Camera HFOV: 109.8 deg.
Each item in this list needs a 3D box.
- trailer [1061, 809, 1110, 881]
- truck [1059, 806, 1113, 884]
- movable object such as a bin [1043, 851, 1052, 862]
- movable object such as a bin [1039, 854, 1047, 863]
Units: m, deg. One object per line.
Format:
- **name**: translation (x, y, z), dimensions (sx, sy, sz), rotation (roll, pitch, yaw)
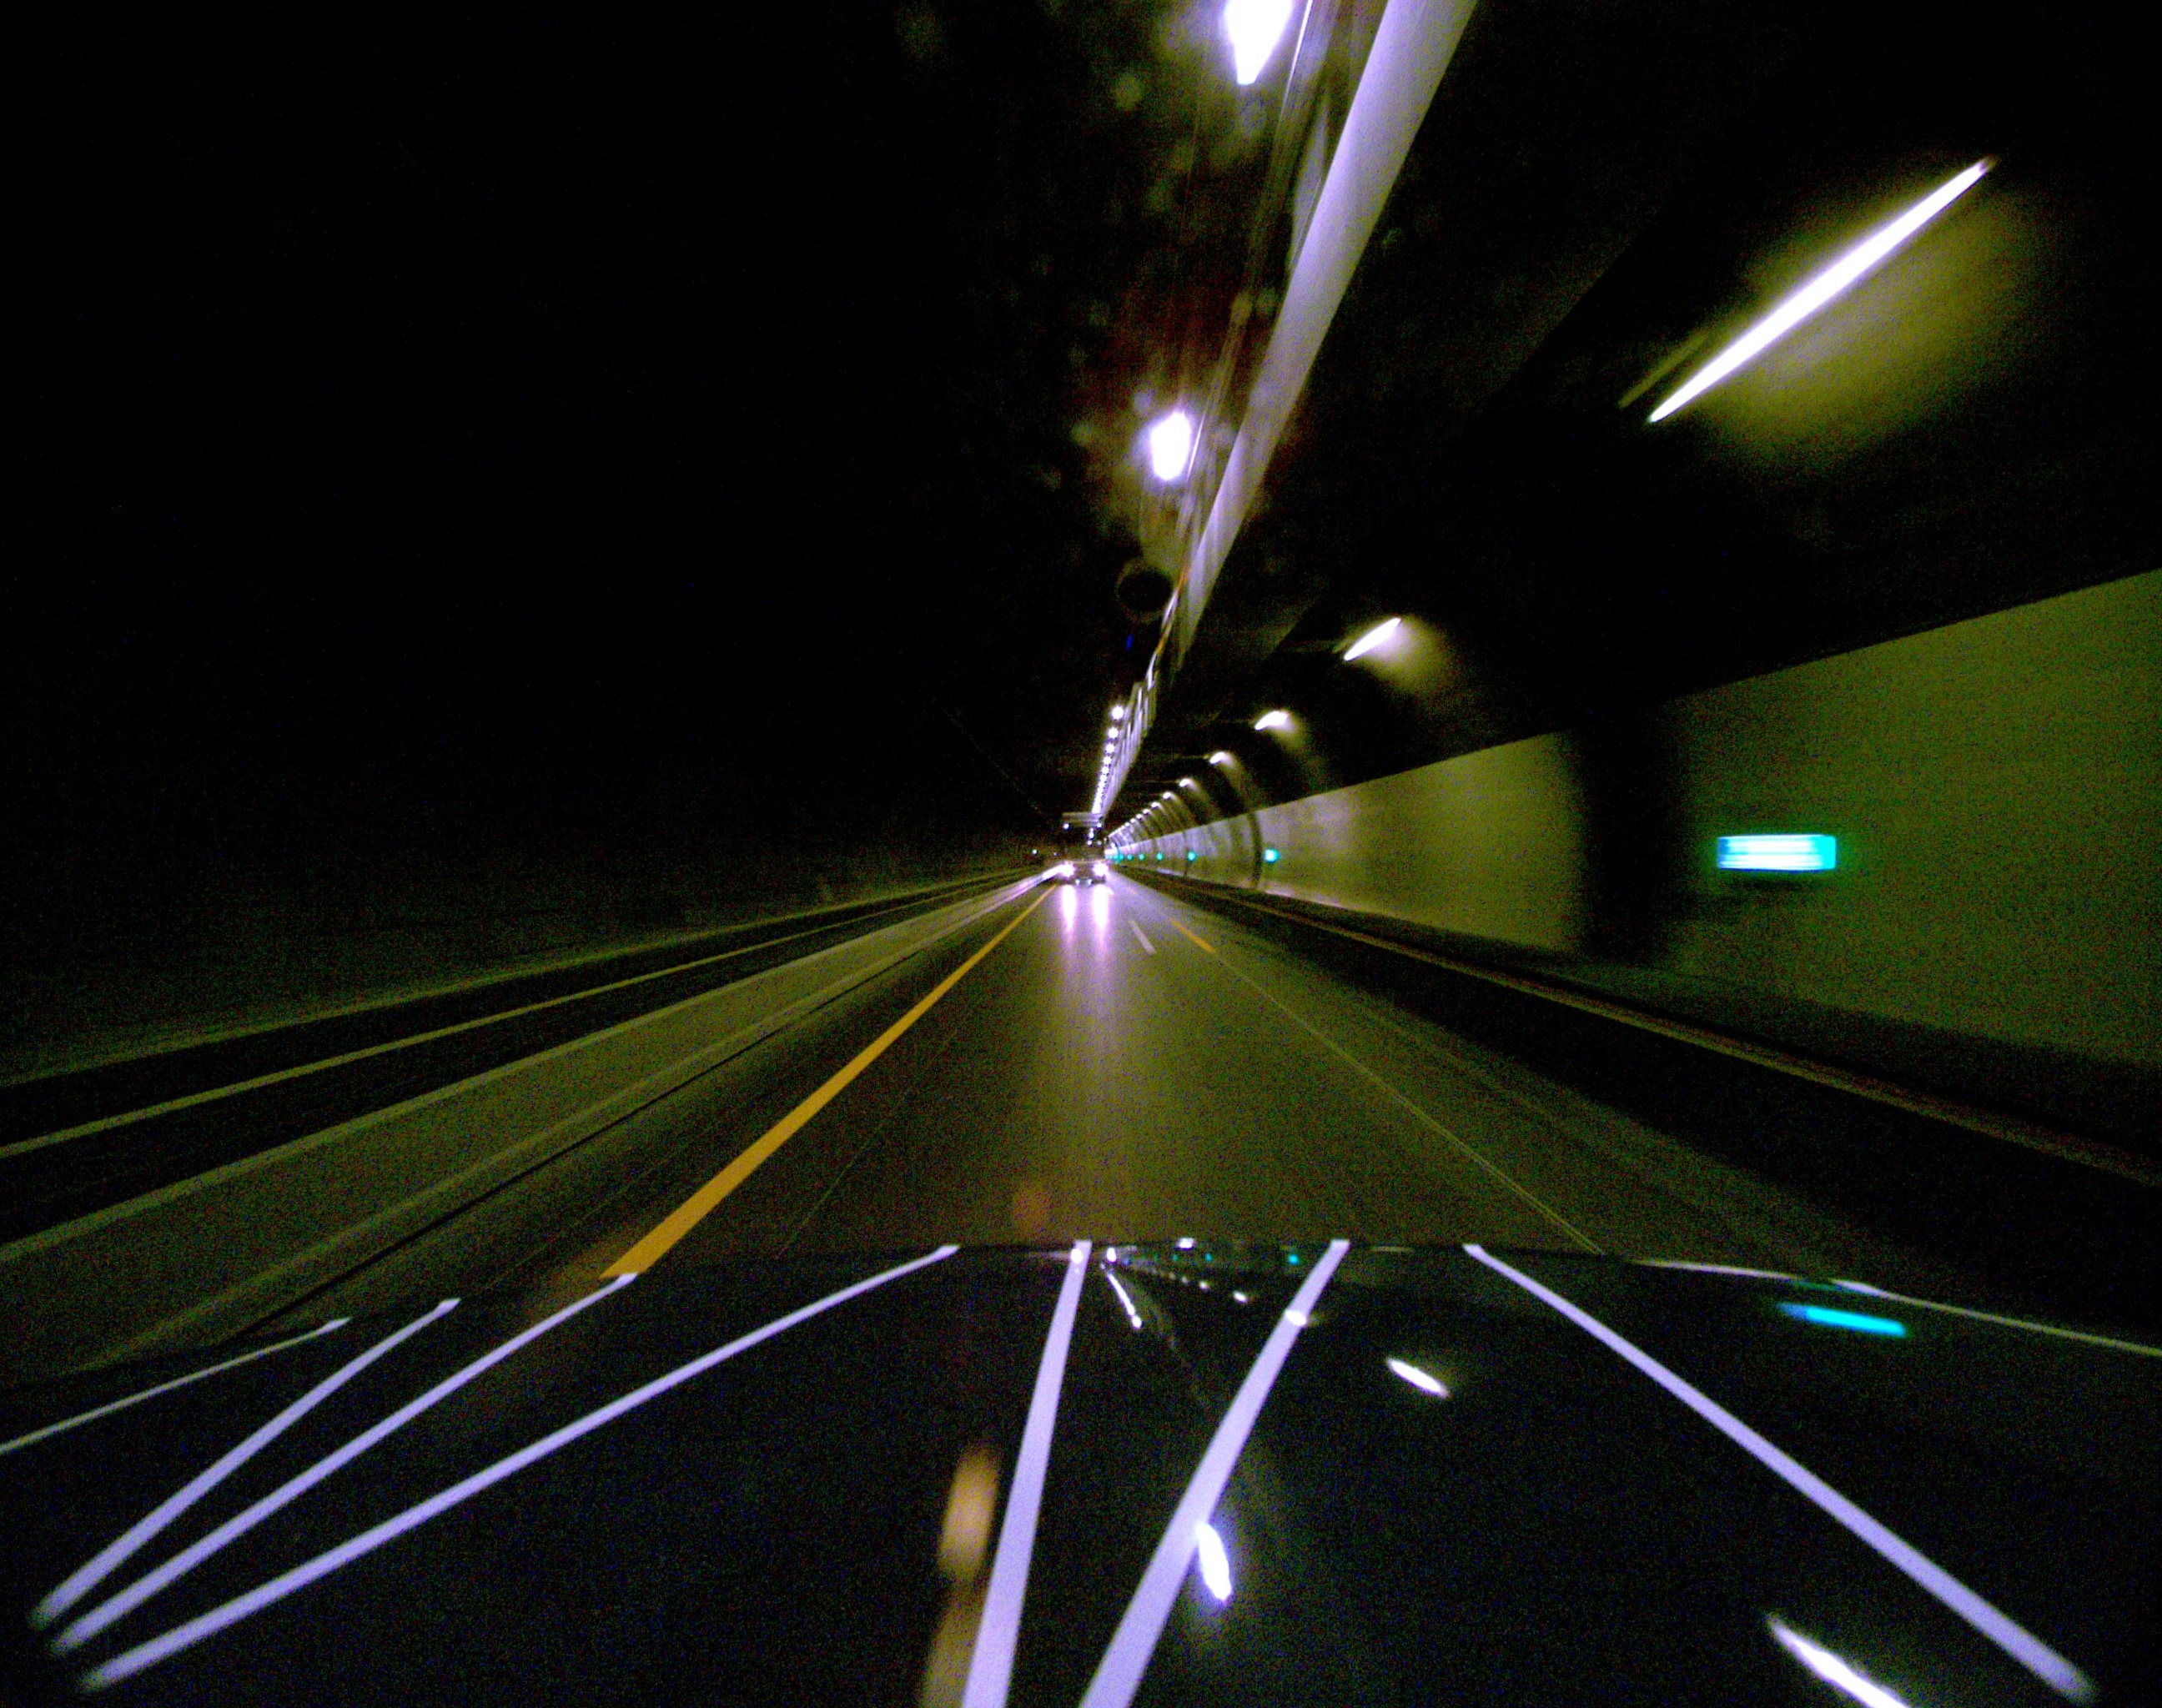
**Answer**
- **trailer**: translation (0.299, -0.569, 51.239), dimensions (2.940, 4.316, 10.051), rotation (-1, 0, 0)
- **truck**: translation (0.299, -0.543, 46.010), dimensions (2.951, 4.338, 6.675), rotation (-1, 1, 0)
- **movable object such as a bin**: translation (-6.762, 0.524, 154.577), dimensions (1.688, 2.133, 4.627), rotation (-1, 0, 0)
- **movable object such as a bin**: translation (-8.033, 0.944, 160.551), dimensions (1.560, 1.699, 3.054), rotation (-1, 0, 0)
